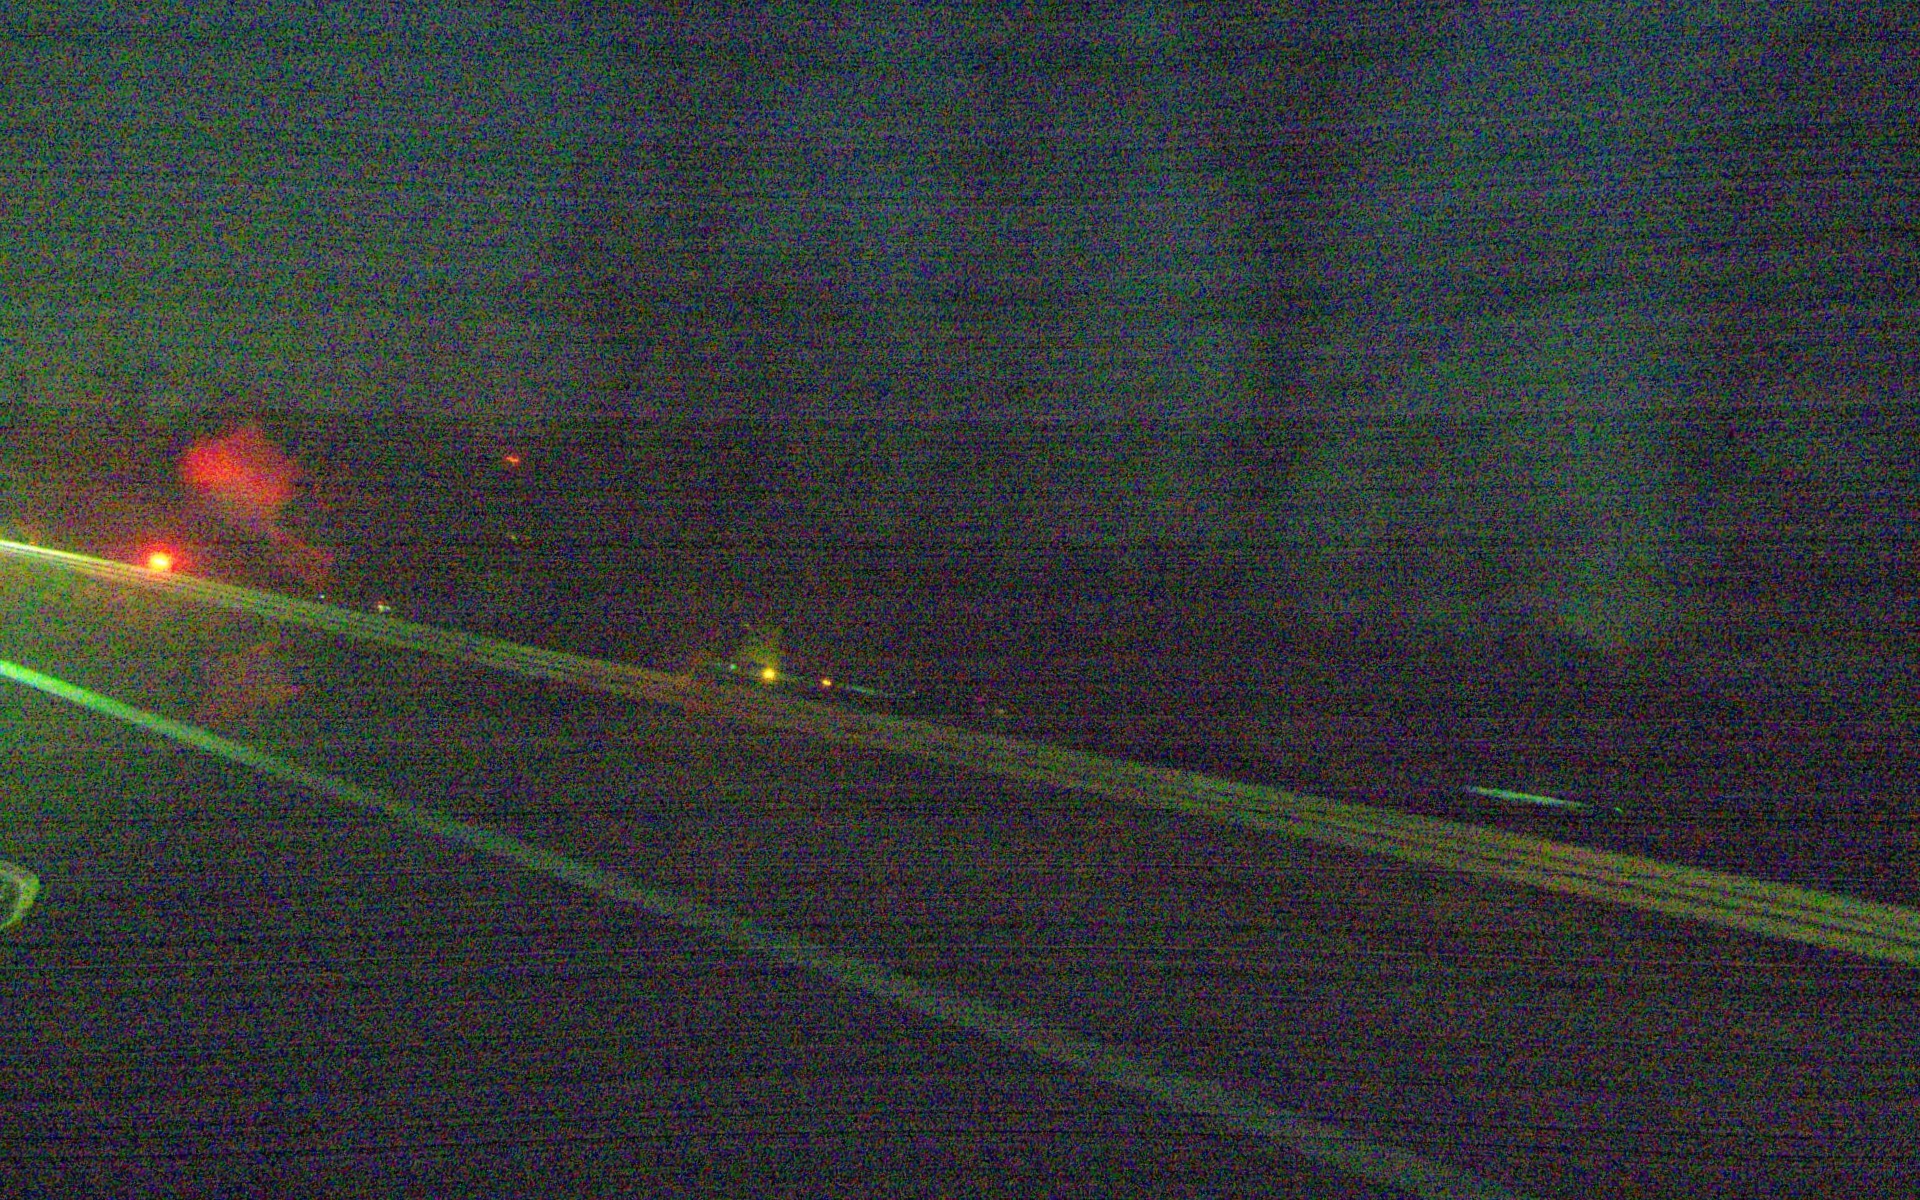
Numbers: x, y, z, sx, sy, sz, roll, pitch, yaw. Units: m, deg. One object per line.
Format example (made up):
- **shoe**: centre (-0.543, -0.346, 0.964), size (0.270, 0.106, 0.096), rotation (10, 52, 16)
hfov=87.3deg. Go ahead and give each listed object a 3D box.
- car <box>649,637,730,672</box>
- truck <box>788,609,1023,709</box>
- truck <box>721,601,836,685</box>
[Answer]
- **car**: centre (-15.221, 3.090, 56.757), size (3.916, 1.308, 1.715), rotation (10, -2, 6)
- **truck**: centre (-3.214, 3.562, 61.043), size (13.571, 4.271, 2.769), rotation (7, -2, 0)
- **truck**: centre (-10.923, 2.622, 60.987), size (6.080, 4.271, 2.769), rotation (7, -2, 0)
